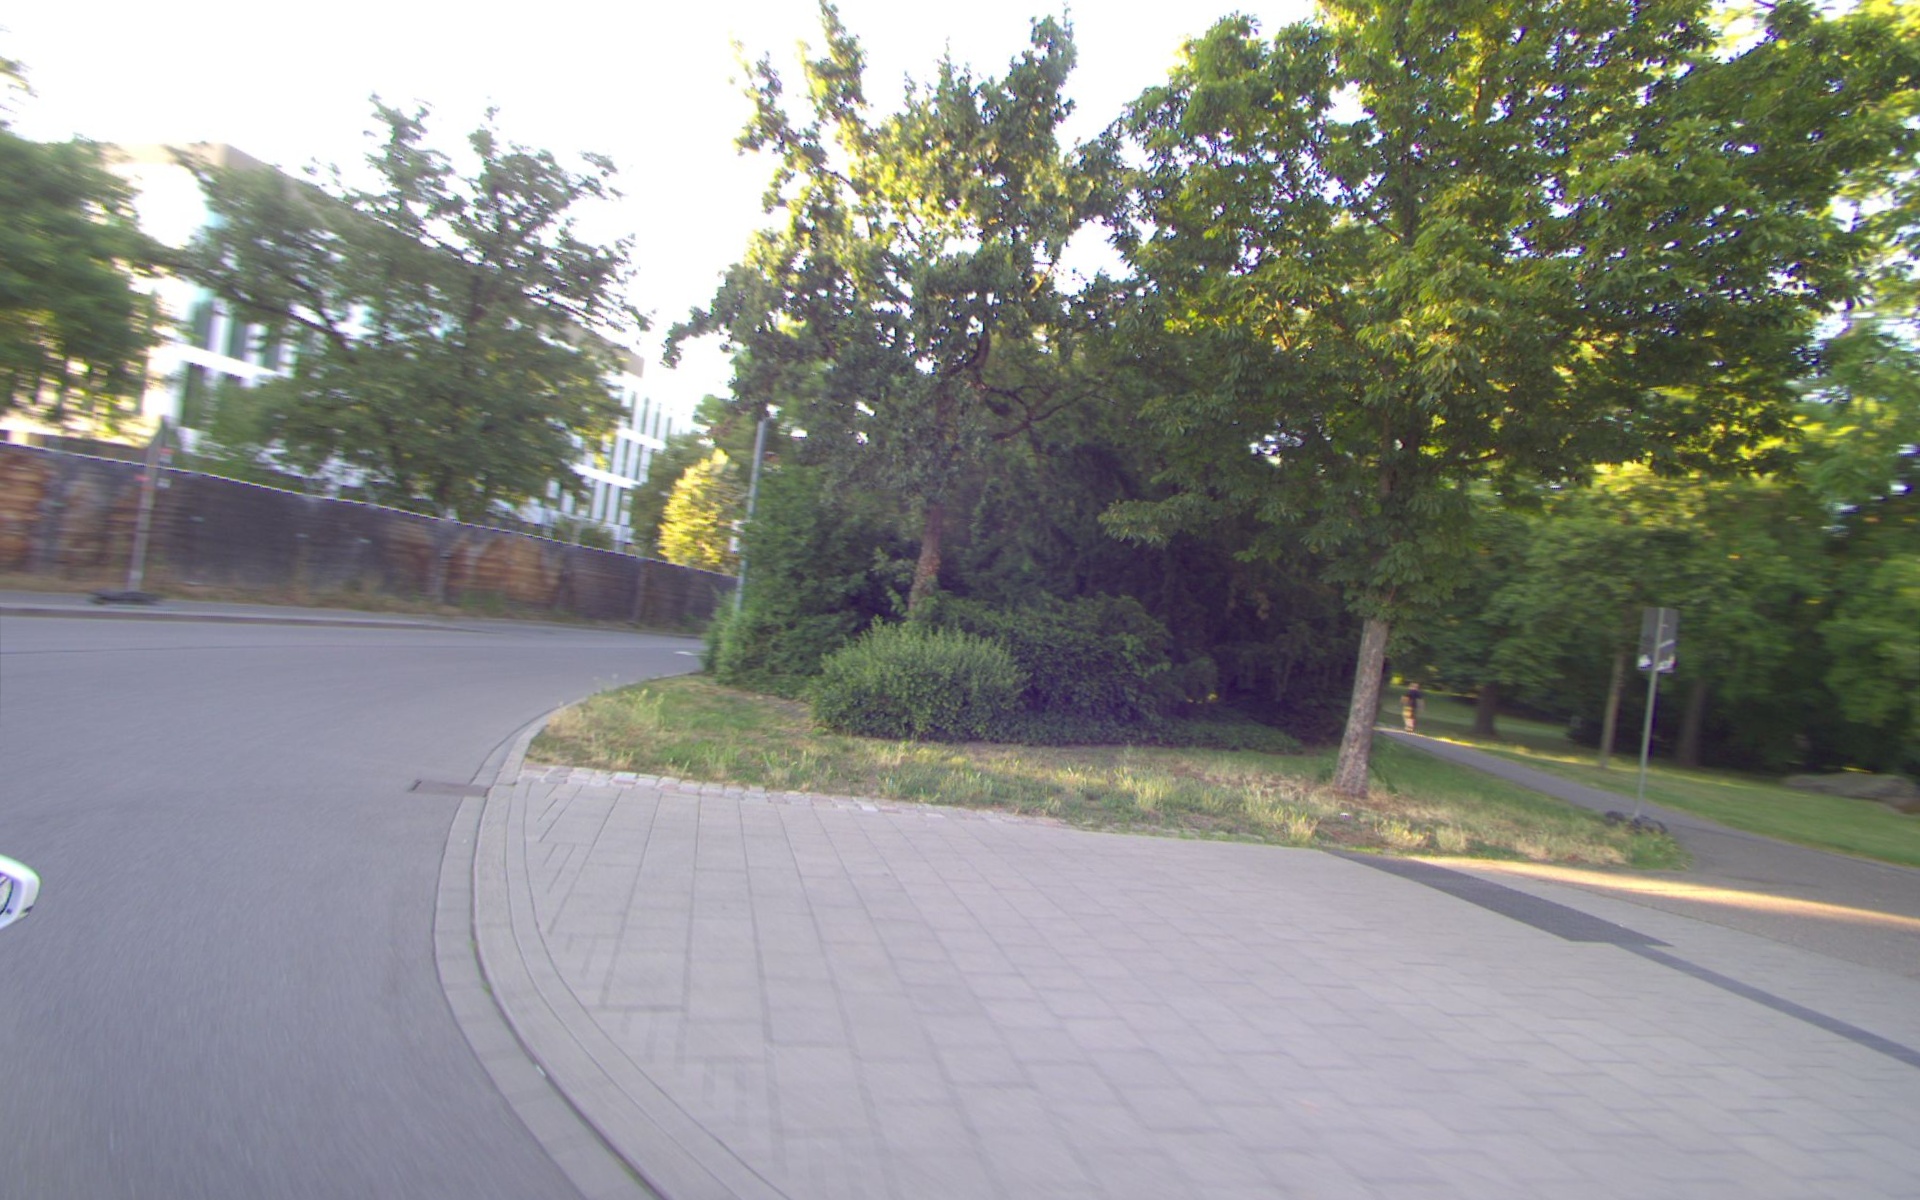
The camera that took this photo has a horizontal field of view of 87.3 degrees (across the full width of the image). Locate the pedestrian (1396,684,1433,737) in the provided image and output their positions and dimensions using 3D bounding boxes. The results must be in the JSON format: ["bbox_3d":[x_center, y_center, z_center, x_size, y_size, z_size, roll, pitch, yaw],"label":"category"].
[{"bbox_3d":[15.107,3.663,33.446,0.821,1.643,0.817,7,0,17],"label":"pedestrian"}]
